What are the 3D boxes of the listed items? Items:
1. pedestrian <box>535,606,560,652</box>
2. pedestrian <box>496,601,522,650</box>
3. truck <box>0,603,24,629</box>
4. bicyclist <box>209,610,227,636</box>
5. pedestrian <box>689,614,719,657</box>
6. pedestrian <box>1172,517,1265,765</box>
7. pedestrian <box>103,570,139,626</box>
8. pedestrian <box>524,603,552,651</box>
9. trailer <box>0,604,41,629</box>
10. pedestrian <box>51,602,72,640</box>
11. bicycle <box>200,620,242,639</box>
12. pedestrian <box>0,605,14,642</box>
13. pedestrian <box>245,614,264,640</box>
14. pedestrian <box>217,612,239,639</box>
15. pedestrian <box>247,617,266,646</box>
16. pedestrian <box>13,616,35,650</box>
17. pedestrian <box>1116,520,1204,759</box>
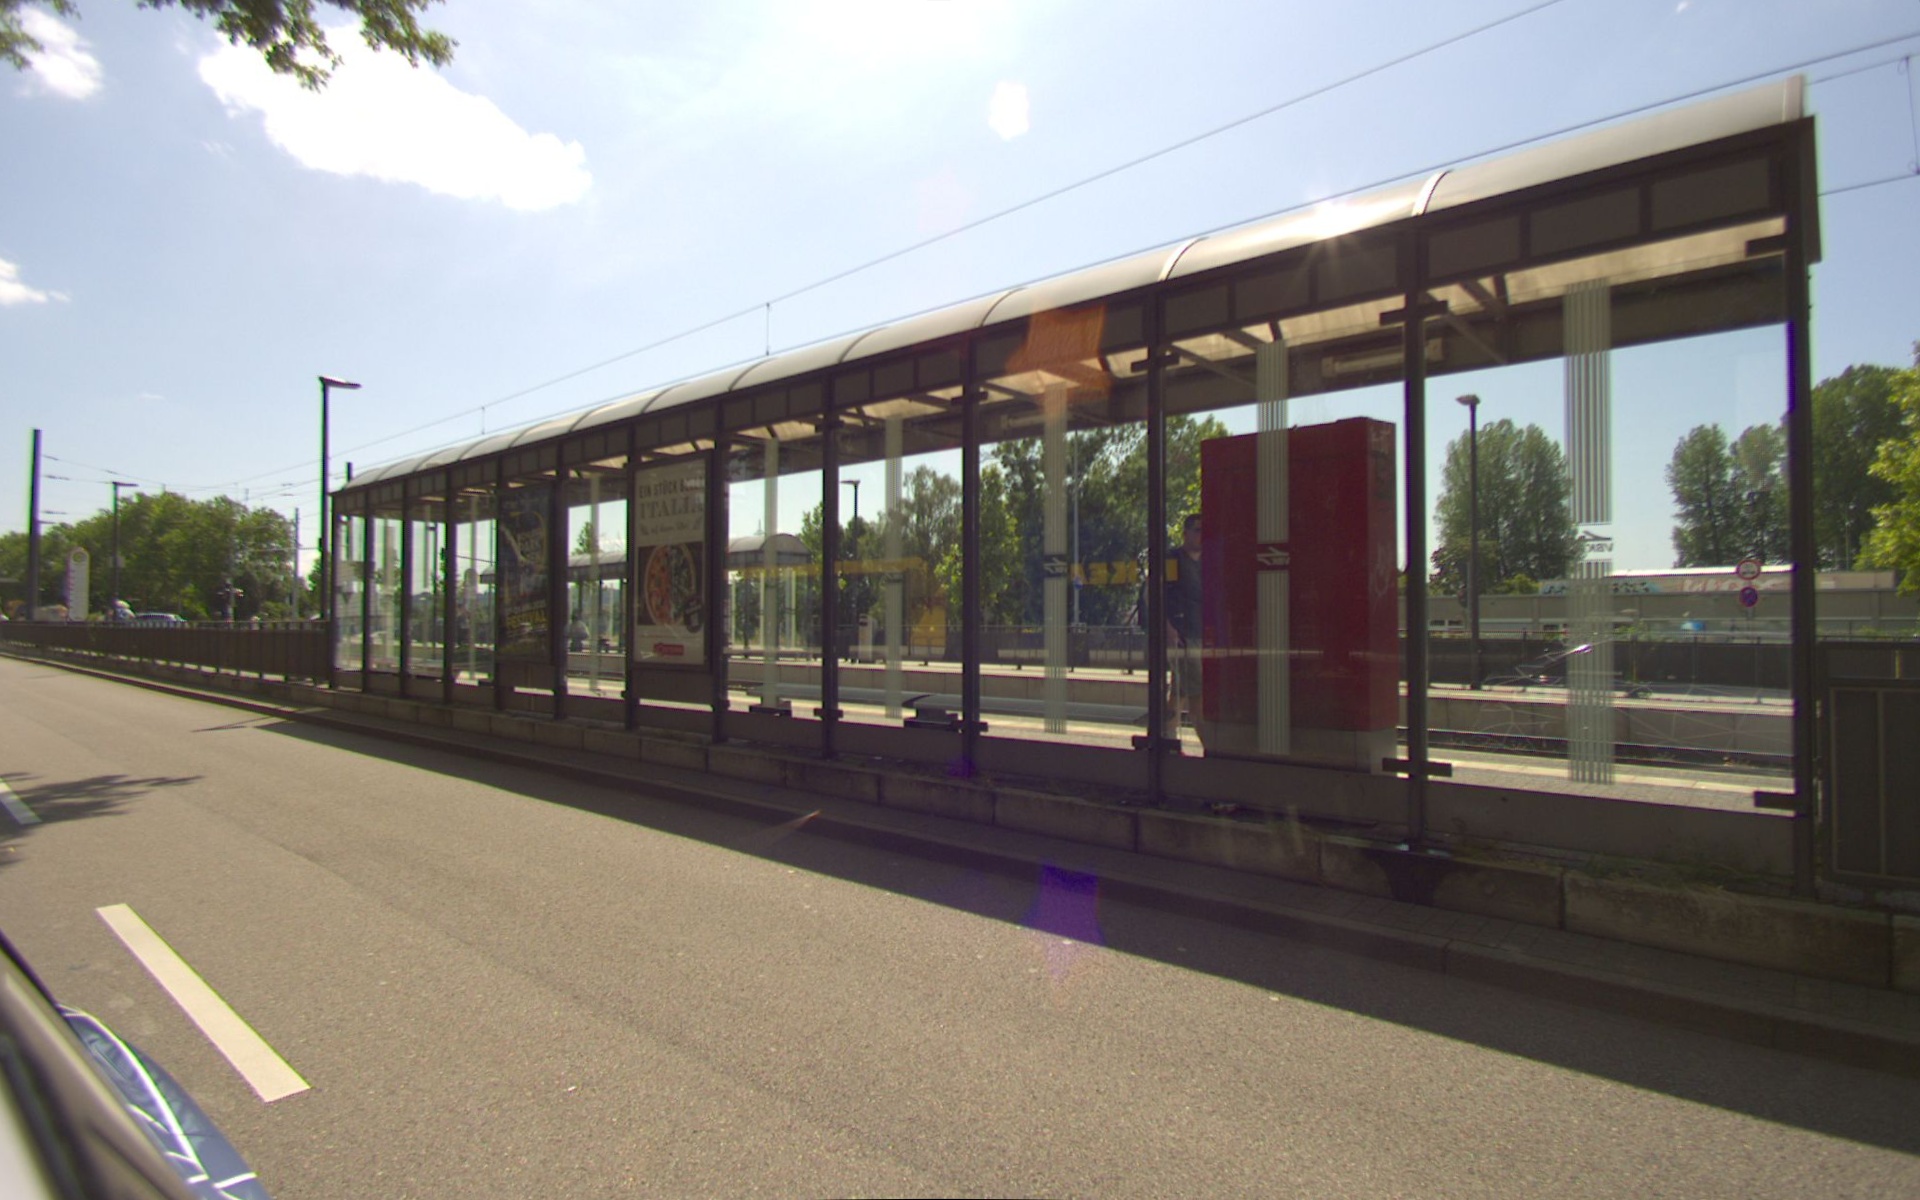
[{"bbox_3d":[-14.258,1.002,34.994,0.639,1.545,0.570,-2,-2,42],"label":"pedestrian"},{"bbox_3d":[-16.142,0.917,36.208,0.726,1.742,0.579,0,-2,-11],"label":"pedestrian"},{"bbox_3d":[-158.211,2.643,167.807,7.463,4.069,3.096,-1,-1,37],"label":"truck"},{"bbox_3d":[-45.711,1.422,62.346,0.729,1.627,0.660,-1,0,26],"label":"bicyclist"},{"bbox_3d":[-7.238,1.004,28.614,0.639,1.199,0.570,-2,-2,42],"label":"pedestrian"},{"bbox_3d":[1.656,0.253,6.484,0.389,1.519,0.419,1,-2,-37],"label":"pedestrian"},{"bbox_3d":[-25.476,-0.060,30.721,0.742,1.678,0.725,-2,-1,41],"label":"pedestrian"},{"bbox_3d":[-14.815,0.952,35.529,0.814,1.651,0.579,0,-2,-11],"label":"pedestrian"},{"bbox_3d":[-151.940,2.656,162.949,15.458,3.900,3.085,-1,-2,38],"label":"trailer"},{"bbox_3d":[-40.748,0.951,45.894,0.719,1.694,0.607,-1,-1,40],"label":"pedestrian"},{"bbox_3d":[-45.628,1.833,62.473,0.760,1.109,1.960,-1,0,26],"label":"bicycle"},{"bbox_3d":[-46.736,1.150,49.298,0.882,1.816,0.854,-1,-1,38],"label":"pedestrian"},{"bbox_3d":[-43.081,1.665,61.791,0.763,1.560,0.754,-2,-1,39],"label":"pedestrian"},{"bbox_3d":[-44.616,1.551,61.697,0.763,1.622,0.947,-1,-1,39],"label":"pedestrian"},{"bbox_3d":[-42.325,1.897,60.858,0.763,1.685,0.754,-2,-1,39],"label":"pedestrian"},{"bbox_3d":[-48.011,1.686,51.892,0.678,1.685,0.725,-1,-2,39],"label":"pedestrian"},{"bbox_3d":[1.326,0.256,6.731,0.389,1.519,0.419,1,-2,-37],"label":"pedestrian"}]
